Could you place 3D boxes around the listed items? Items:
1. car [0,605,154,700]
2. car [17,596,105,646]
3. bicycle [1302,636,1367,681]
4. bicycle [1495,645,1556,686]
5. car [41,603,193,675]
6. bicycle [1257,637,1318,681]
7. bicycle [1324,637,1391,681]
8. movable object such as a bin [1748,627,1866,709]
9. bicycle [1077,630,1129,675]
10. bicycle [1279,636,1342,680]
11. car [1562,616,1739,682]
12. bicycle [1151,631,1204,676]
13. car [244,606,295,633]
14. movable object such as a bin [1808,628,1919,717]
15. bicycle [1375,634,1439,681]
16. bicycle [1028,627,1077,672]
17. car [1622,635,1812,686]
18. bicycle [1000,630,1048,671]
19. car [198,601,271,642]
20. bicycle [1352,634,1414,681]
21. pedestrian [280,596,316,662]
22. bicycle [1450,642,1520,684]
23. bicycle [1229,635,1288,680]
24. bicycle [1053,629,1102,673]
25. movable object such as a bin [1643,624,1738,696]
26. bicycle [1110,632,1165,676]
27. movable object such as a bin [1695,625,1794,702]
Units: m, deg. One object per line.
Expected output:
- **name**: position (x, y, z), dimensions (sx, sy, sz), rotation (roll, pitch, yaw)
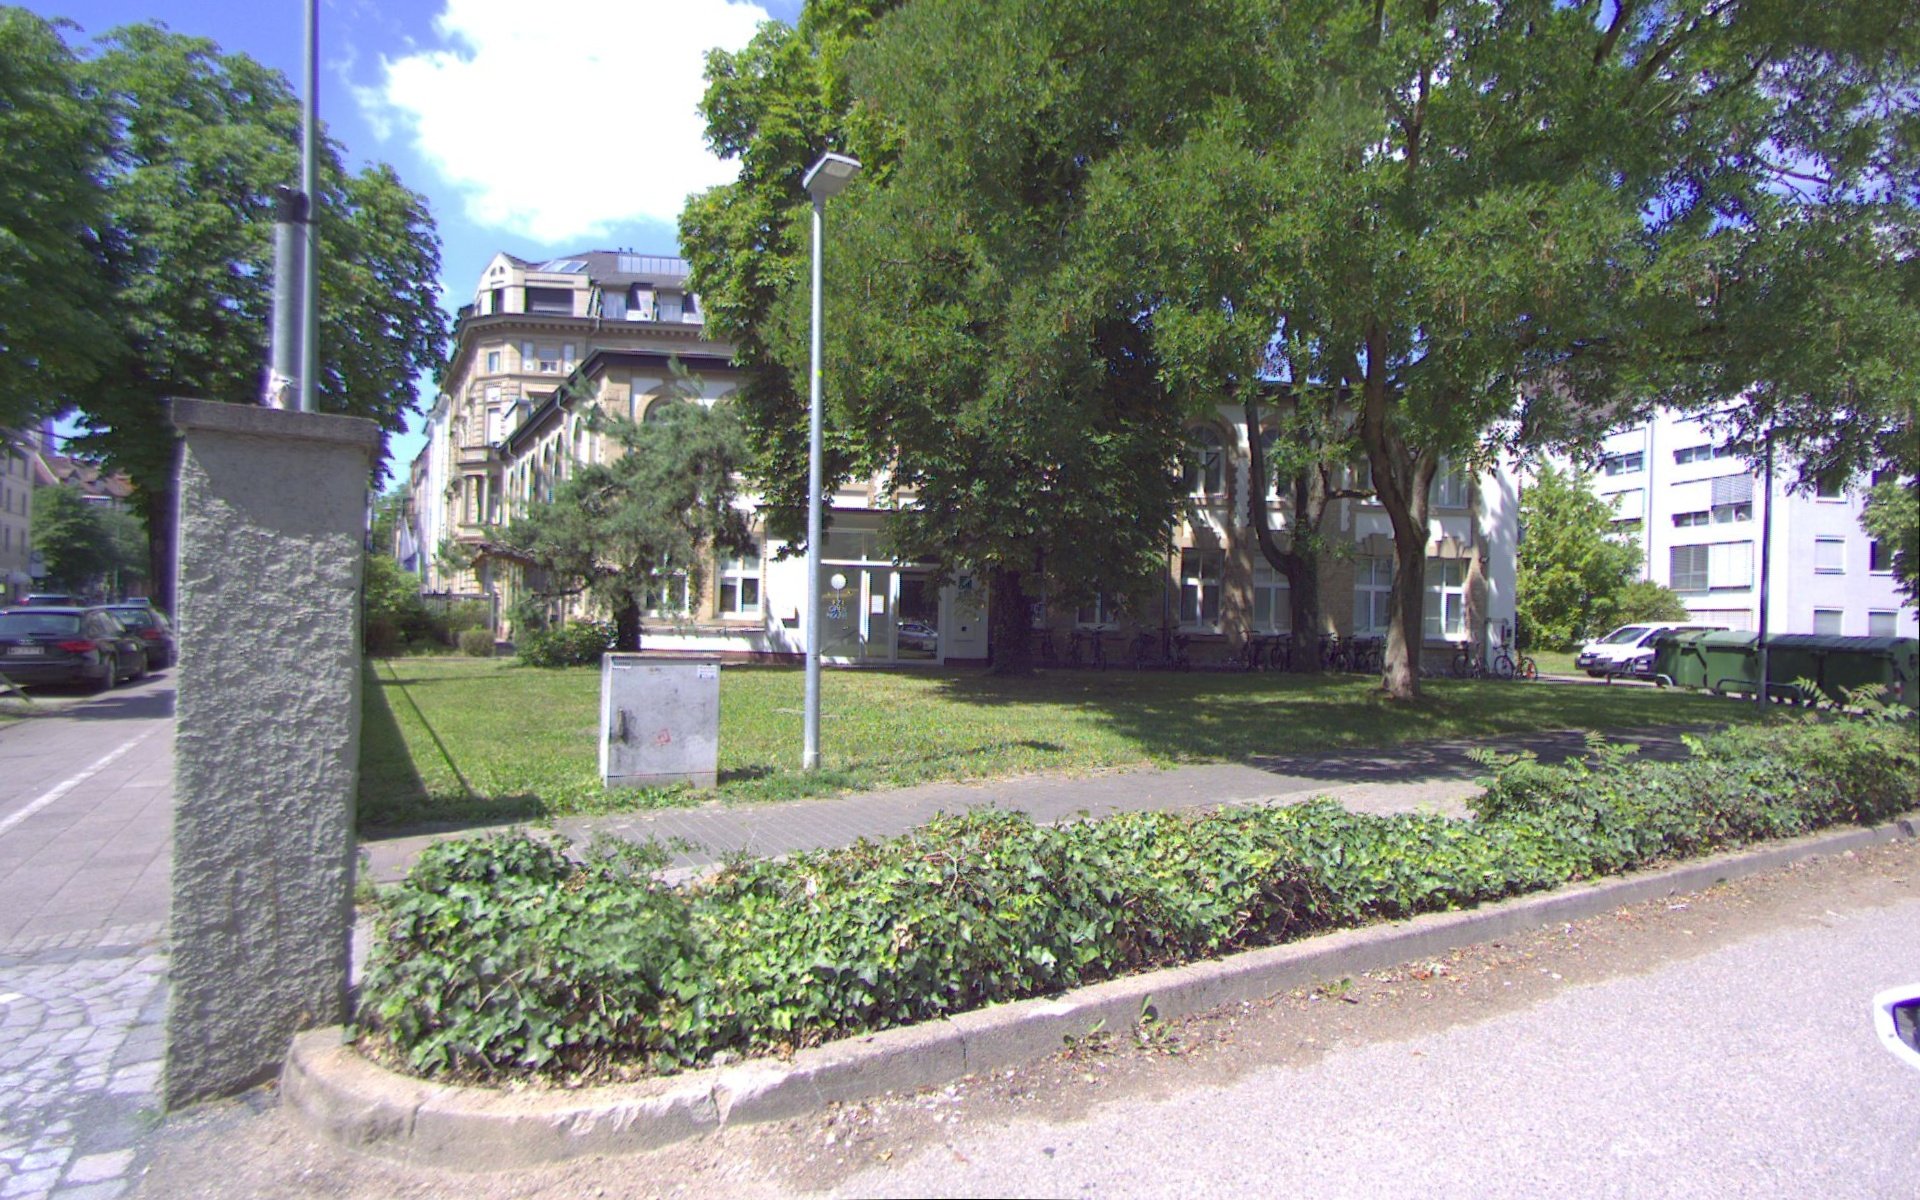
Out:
- **car**: position (-15.483, 0.811, 17.262), dimensions (1.861, 1.437, 4.119), rotation (1, 0, -29)
- **car**: position (-32.294, 0.754, 36.189), dimensions (1.589, 1.673, 3.966), rotation (3, -2, -31)
- **bicycle**: position (9.766, 1.506, 26.286), dimensions (0.596, 1.025, 2.257), rotation (1, 0, -7)
- **bicycle**: position (15.039, 1.725, 26.763), dimensions (0.602, 0.971, 1.729), rotation (1, 0, -2)
- **car**: position (-18.887, 0.812, 22.703), dimensions (1.929, 1.463, 3.744), rotation (1, 0, -29)
- **bicycle**: position (8.482, 1.505, 26.109), dimensions (0.596, 1.025, 2.257), rotation (1, 0, -7)
- **bicycle**: position (10.404, 1.516, 26.385), dimensions (0.596, 1.025, 2.257), rotation (1, 0, -7)
- **movable object such as a bin**: position (16.264, 1.280, 19.326), dimensions (1.078, 1.499, 1.356), rotation (1, -1, -14)
- **bicycle**: position (3.650, 1.327, 25.871), dimensions (0.596, 1.025, 2.255), rotation (1, 0, -11)
- **bicycle**: position (9.111, 1.495, 26.231), dimensions (0.596, 1.025, 2.257), rotation (1, 0, -7)
- **car**: position (23.070, 1.612, 33.663), dimensions (4.683, 2.040, 1.999), rotation (1, -1, -4)
- **bicycle**: position (5.606, 1.362, 26.033), dimensions (0.596, 1.025, 2.257), rotation (1, 0, -7)
- **car**: position (-39.895, 1.110, 58.098), dimensions (1.788, 1.498, 3.975), rotation (1, 0, -25)
- **movable object such as a bin**: position (16.359, 1.270, 17.993), dimensions (1.185, 1.499, 1.324), rotation (1, -1, -7)
- **bicycle**: position (11.771, 1.492, 26.516), dimensions (0.595, 1.096, 2.259), rotation (1, 0, -2)
- **bicycle**: position (2.348, 1.245, 25.719), dimensions (0.621, 1.025, 2.255), rotation (1, 0, -11)
- **car**: position (23.064, 1.822, 30.686), dimensions (4.538, 1.370, 1.833), rotation (1, 0, -4)
- **bicycle**: position (1.584, 1.258, 25.410), dimensions (0.644, 0.902, 2.255), rotation (1, 0, -11)
- **car**: position (-30.105, 0.866, 41.791), dimensions (1.706, 1.636, 3.975), rotation (1, 0, -25)
- **bicycle**: position (11.140, 1.489, 26.517), dimensions (0.595, 1.096, 2.259), rotation (1, 0, -2)
- **pedestrian**: position (-16.287, 0.698, 24.730), dimensions (0.690, 1.588, 0.737), rotation (1, -1, -33)
- **bicycle**: position (13.868, 1.655, 26.617), dimensions (0.595, 0.971, 2.259), rotation (1, 0, -2)
- **bicycle**: position (7.731, 1.468, 26.106), dimensions (0.596, 1.025, 2.257), rotation (1, 0, -7)
- **bicycle**: position (2.992, 1.290, 25.785), dimensions (0.560, 1.025, 2.255), rotation (1, 0, -11)
- **movable object such as a bin**: position (16.136, 1.303, 22.223), dimensions (1.027, 1.499, 1.409), rotation (1, -1, -3)
- **bicycle**: position (4.566, 1.376, 25.974), dimensions (0.596, 1.025, 2.255), rotation (1, 0, -11)
- **movable object such as a bin**: position (16.169, 1.291, 20.730), dimensions (1.027, 1.499, 1.261), rotation (1, -1, -3)
